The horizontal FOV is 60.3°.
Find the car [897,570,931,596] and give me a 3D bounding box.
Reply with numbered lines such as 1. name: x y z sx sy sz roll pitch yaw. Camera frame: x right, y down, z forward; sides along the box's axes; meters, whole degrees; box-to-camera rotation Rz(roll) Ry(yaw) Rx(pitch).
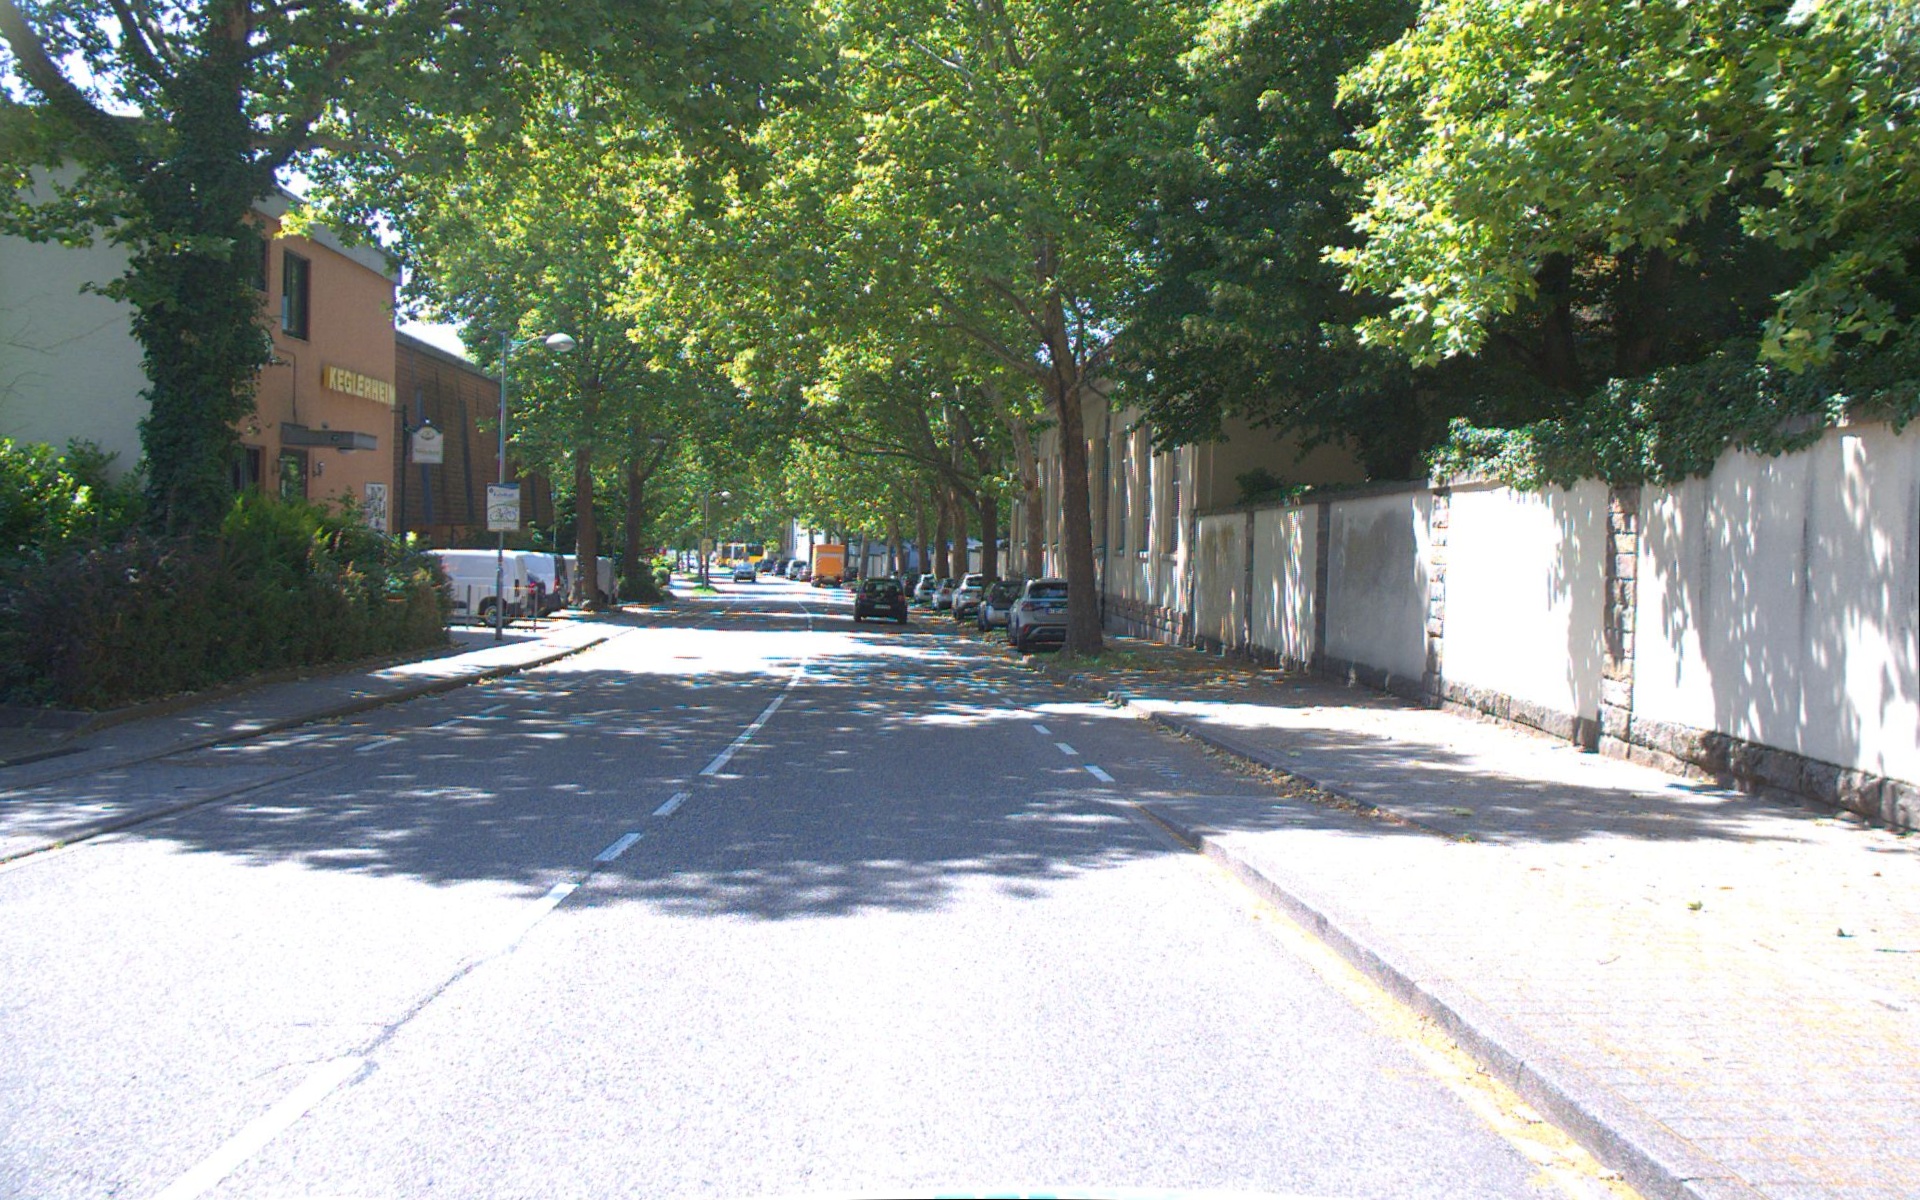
1. car: -2.757 -1.012 98.210 1.732 1.491 3.871 -1 1 -5

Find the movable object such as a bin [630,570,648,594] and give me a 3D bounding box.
1. movable object such as a bin: -14.399 -0.808 74.167 0.720 1.097 0.701 0 1 -5

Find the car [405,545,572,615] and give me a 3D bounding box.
1. car: -13.549 -0.570 47.746 4.339 1.835 1.900 2 1 -7

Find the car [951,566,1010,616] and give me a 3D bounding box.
1. car: 0.701 -0.354 60.500 1.772 1.718 4.748 -1 1 -4

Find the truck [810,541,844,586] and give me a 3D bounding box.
1. truck: -9.977 -2.704 123.841 2.325 3.188 5.761 0 0 -6

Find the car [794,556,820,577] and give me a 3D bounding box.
1. car: -13.367 -2.930 144.016 1.846 1.715 3.989 0 0 -11

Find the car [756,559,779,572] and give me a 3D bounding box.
1. car: -20.223 -3.629 173.772 1.738 1.398 3.714 -1 1 -16

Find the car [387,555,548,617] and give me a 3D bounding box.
1. car: -13.392 -0.390 45.159 3.911 1.541 1.866 2 1 -7

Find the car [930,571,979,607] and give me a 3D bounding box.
1. car: -0.270 -0.485 71.136 1.732 1.458 3.871 -1 1 -5

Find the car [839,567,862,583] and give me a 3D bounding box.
1. car: -9.491 -2.155 143.050 1.734 1.398 3.723 1 1 -9

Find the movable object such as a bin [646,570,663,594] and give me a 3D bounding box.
1. movable object such as a bin: -13.693 -0.791 74.155 0.611 1.066 0.620 0 1 -1

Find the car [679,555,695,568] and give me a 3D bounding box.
1. car: -31.388 -4.461 190.367 1.680 1.472 4.047 0 1 -11

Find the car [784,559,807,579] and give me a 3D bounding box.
1. car: -15.025 -2.797 151.152 1.844 1.715 3.992 0 0 -9

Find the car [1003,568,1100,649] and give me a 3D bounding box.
1. car: 1.992 0.129 37.236 1.706 1.584 4.778 -1 2 -3

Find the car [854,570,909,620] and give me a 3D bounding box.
1. car: -2.599 -0.190 53.979 1.677 1.472 4.055 0 2 -5

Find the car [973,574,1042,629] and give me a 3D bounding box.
1. car: 1.368 0.009 48.829 1.589 1.464 4.430 -1 1 -4

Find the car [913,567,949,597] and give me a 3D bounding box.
1. car: -1.499 -0.964 85.590 1.547 1.491 3.871 -1 1 -5

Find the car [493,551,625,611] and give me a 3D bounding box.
1. car: -13.484 -0.636 55.800 4.050 1.835 1.900 2 1 -7

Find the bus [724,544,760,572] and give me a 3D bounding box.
1. bus: -25.916 -4.938 196.305 2.621 3.205 11.148 0 1 -16

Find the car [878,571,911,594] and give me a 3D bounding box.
1. car: -4.290 -1.151 107.821 1.734 1.398 3.723 -1 1 -9

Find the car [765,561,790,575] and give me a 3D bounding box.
1. car: -18.075 -3.165 163.658 1.738 1.398 3.713 -1 1 -17

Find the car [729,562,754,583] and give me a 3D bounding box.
1. car: -18.059 -2.272 136.639 1.957 1.695 3.991 0 0 -10

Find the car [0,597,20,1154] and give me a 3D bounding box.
1. car: -3.370 0.757 2.190 1.732 1.451 4.393 0 1 0

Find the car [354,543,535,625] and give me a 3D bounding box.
1. car: -12.610 -0.389 40.670 3.911 1.824 1.866 2 1 -7
